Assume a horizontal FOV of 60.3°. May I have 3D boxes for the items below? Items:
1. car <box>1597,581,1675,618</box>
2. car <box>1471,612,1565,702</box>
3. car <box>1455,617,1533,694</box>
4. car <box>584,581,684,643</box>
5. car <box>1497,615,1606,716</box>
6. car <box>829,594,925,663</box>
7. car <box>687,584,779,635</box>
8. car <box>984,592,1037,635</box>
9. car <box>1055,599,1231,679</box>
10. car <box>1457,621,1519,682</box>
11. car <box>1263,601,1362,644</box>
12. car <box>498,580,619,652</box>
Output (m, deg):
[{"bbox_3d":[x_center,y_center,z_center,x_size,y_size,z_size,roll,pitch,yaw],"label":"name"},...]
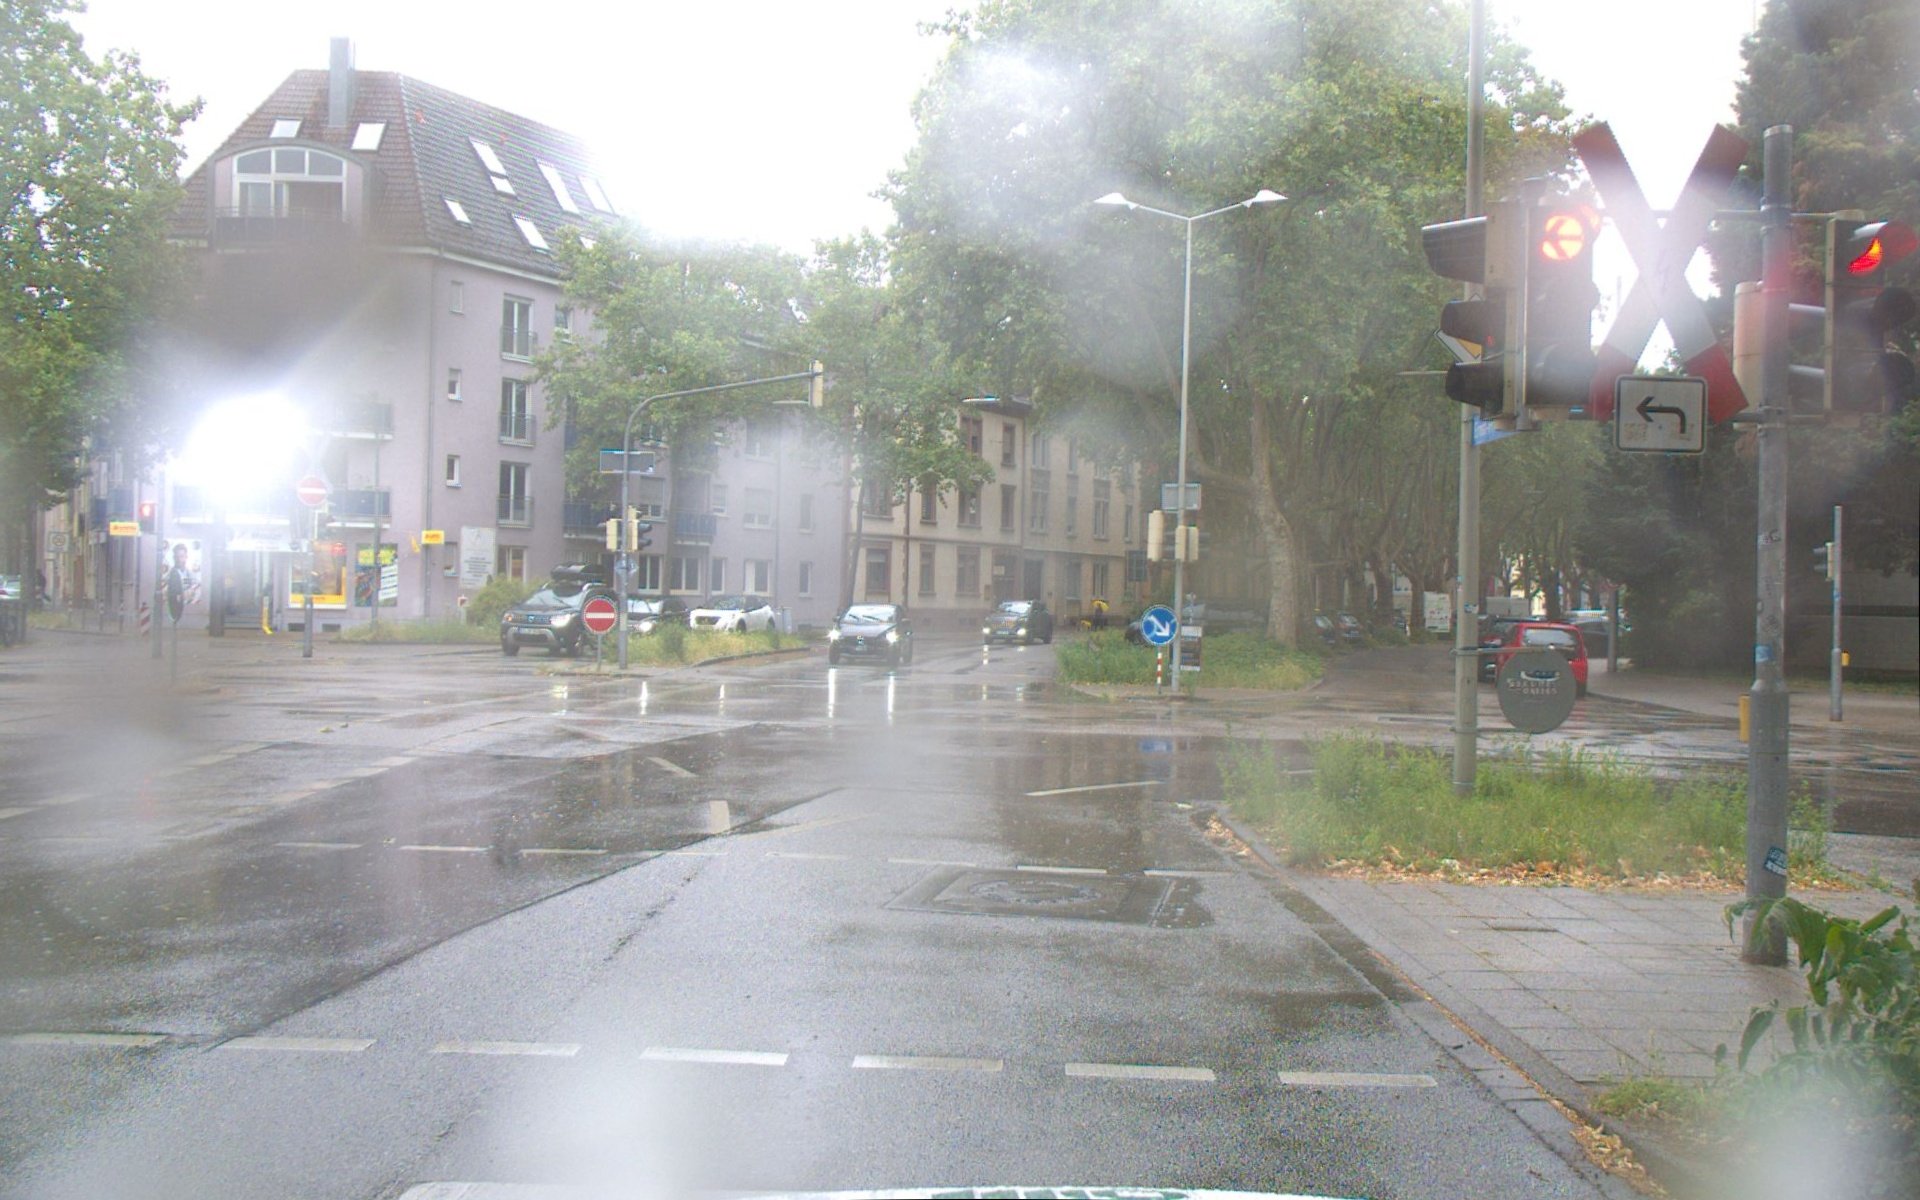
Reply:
[{"bbox_3d":[37.782,-0.043,92.508,3.903,2.049,1.708,0,0,19],"label":"car"},{"bbox_3d":[13.767,1.356,41.007,1.951,2.049,4.003,0,0,15],"label":"car"},{"bbox_3d":[15.465,1.561,48.100,1.951,2.049,4.003,0,0,15],"label":"car"},{"bbox_3d":[-8.775,0.302,44.767,1.688,1.579,3.562,0,0,5],"label":"car"},{"bbox_3d":[13.046,1.389,36.699,1.951,2.049,4.003,0,0,15],"label":"car"},{"bbox_3d":[-1.992,0.661,40.524,1.568,1.579,3.563,0,0,10],"label":"car"},{"bbox_3d":[-7.209,0.274,52.895,1.641,1.579,4.202,0,0,11],"label":"car"},{"bbox_3d":[1.956,0.478,63.205,1.568,1.579,3.563,0,0,9],"label":"car"},{"bbox_3d":[3.675,0.764,33.042,3.405,1.550,1.521,0,0,8],"label":"car"},{"bbox_3d":[19.043,1.816,59.749,1.951,2.049,4.003,0,0,15],"label":"car"},{"bbox_3d":[14.016,0.881,65.767,3.537,1.646,1.679,0,0,28],"label":"car"},{"bbox_3d":[-9.322,0.345,38.657,1.688,1.579,3.562,0,0,5],"label":"car"}]
